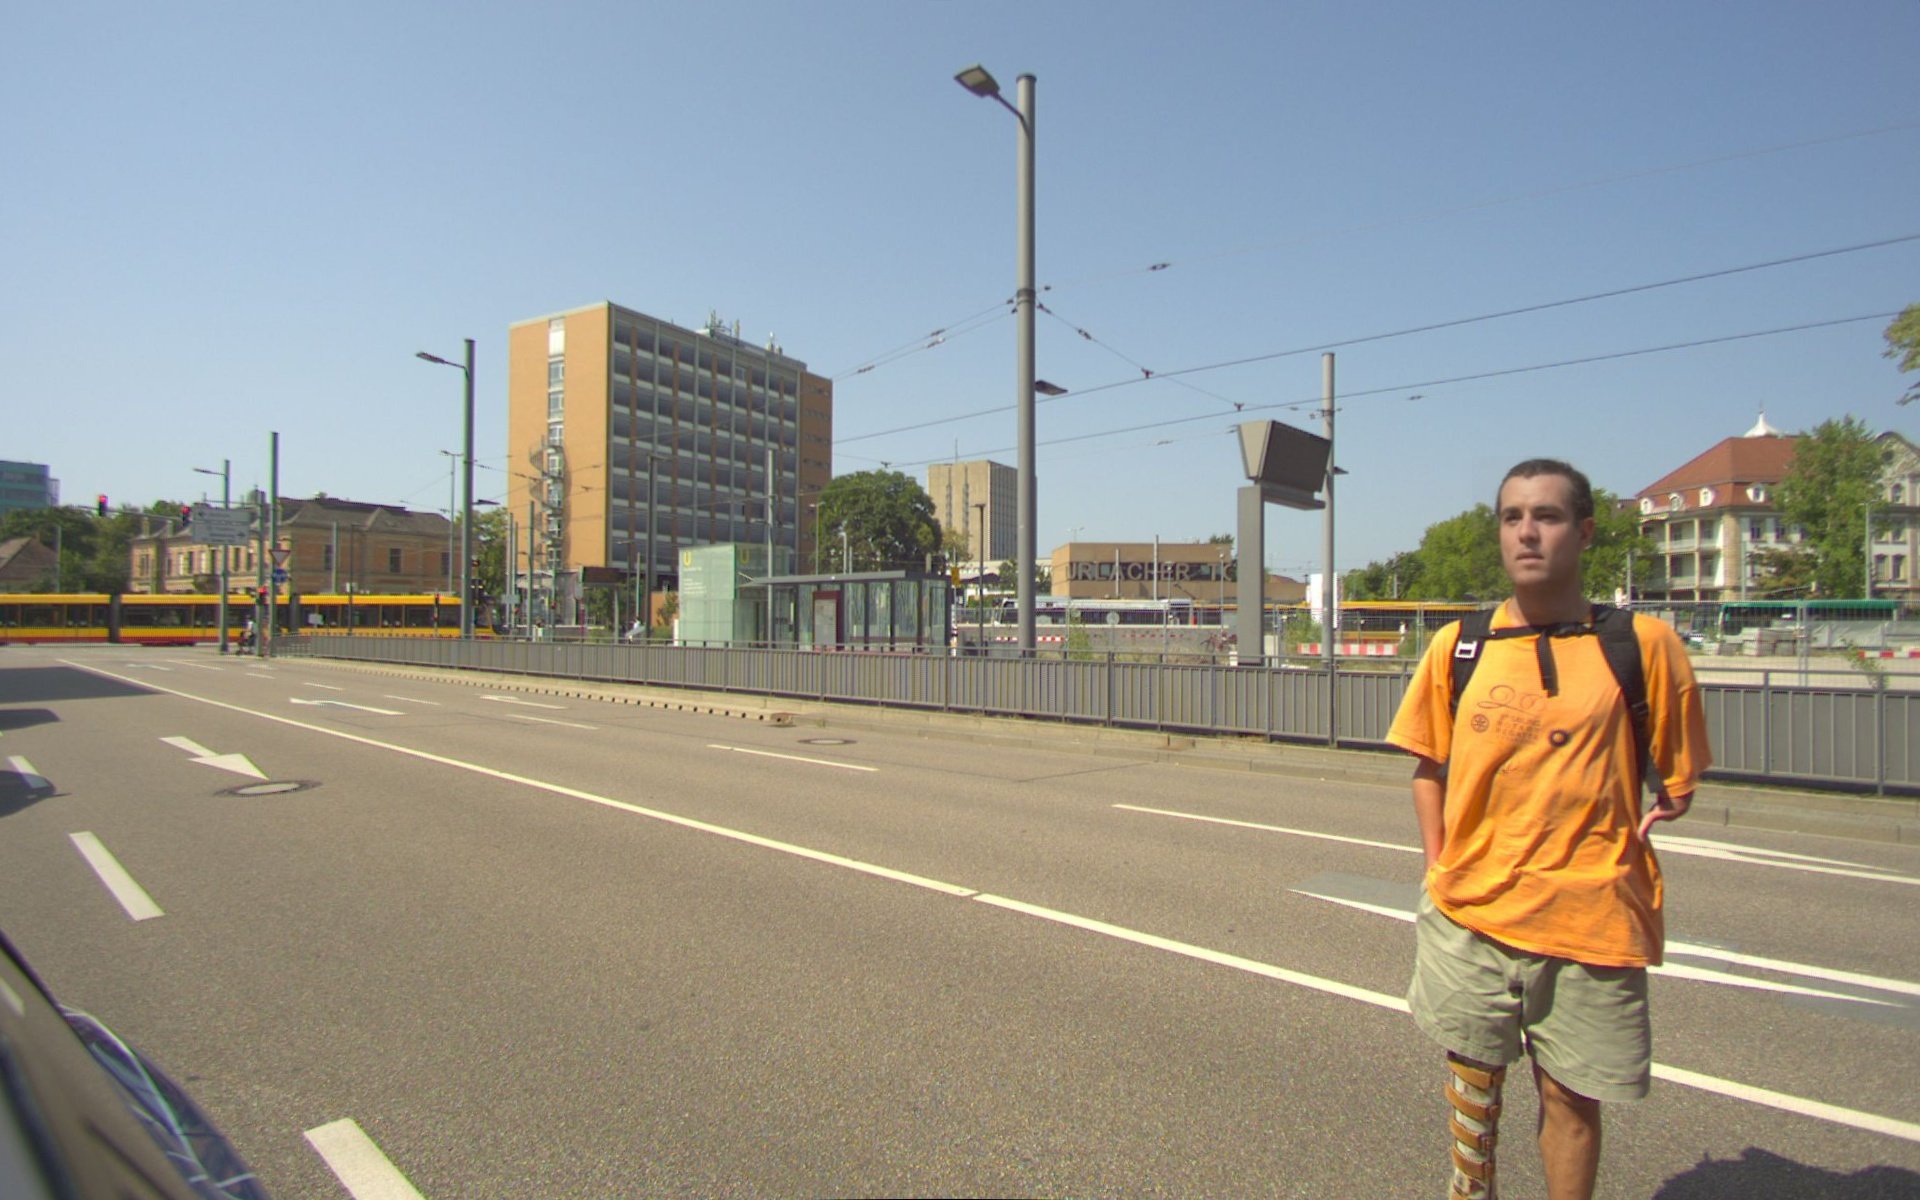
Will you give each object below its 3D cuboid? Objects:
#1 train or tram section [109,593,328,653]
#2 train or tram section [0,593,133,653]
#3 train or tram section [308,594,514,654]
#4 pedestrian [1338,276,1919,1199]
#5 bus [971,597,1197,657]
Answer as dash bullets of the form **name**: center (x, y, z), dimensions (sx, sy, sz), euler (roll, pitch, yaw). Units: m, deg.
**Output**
- **train or tram section**: center (-48.280, 1.544, 66.120), dimensions (12.177, 3.794, 2.002), euler (0, -2, -5)
- **train or tram section**: center (-60.363, 1.469, 64.720), dimensions (12.170, 3.794, 2.004), euler (1, -2, -8)
- **train or tram section**: center (-36.162, 1.601, 66.935), dimensions (12.182, 3.794, 2.002), euler (0, -2, -3)
- **pedestrian**: center (1.257, 0.474, 1.899), dimensions (0.959, 1.754, 1.231), euler (-1, -1, 19)
- **bus**: center (7.439, 1.621, 61.891), dimensions (13.210, 3.319, 3.353), euler (-1, 0, -3)
